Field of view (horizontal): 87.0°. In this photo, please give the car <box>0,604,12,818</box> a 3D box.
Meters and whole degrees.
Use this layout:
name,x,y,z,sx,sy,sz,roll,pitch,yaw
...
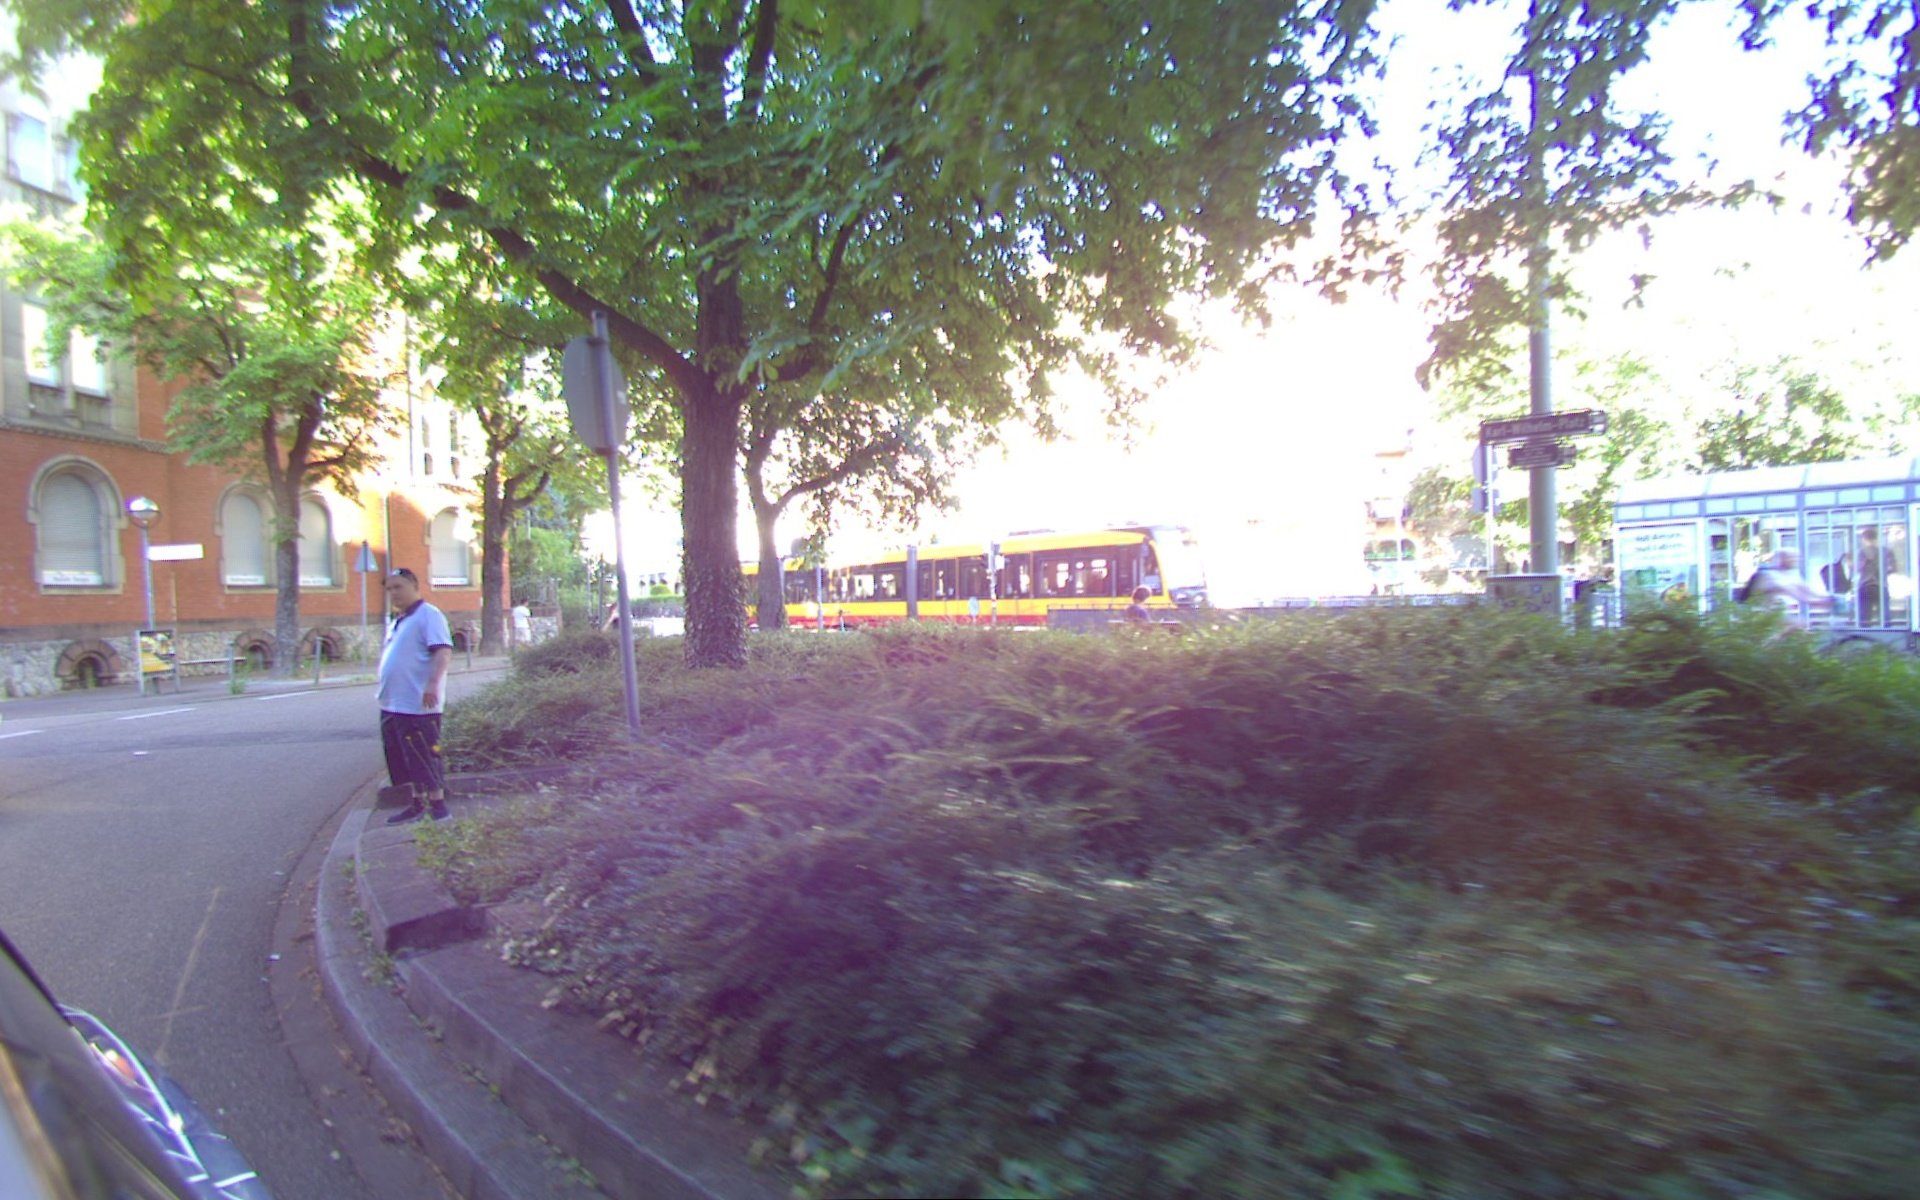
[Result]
name,x,y,z,sx,sy,sz,roll,pitch,yaw
car,-9.627,0.928,8.254,4.507,1.618,1.903,-2,0,36

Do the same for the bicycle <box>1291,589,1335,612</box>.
name,x,y,z,sx,sy,sz,roll,pitch,yaw
bicycle,15.507,0.022,44.500,1.724,0.953,0.652,-2,0,13

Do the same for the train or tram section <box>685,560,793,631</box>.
name,x,y,z,sx,sy,sz,roll,pitch,yaw
train or tram section,-12.118,-0.257,54.964,2.925,3.533,7.205,-3,1,-37

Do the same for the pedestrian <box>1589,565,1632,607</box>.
name,x,y,z,sx,sy,sz,roll,pitch,yaw
pedestrian,30.639,-0.662,47.726,1.486,1.926,1.249,-2,0,26

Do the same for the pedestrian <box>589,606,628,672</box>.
name,x,y,z,sx,sy,sz,roll,pitch,yaw
pedestrian,-8.919,0.984,25.713,0.840,1.617,0.603,-2,0,-16

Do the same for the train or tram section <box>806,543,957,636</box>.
name,x,y,z,sx,sy,sz,roll,pitch,yaw
train or tram section,-3.517,-0.403,43.425,2.887,3.626,7.205,-3,1,-37

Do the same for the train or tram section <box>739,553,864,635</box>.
name,x,y,z,sx,sy,sz,roll,pitch,yaw
train or tram section,-7.828,-0.295,49.201,2.892,3.617,7.205,-3,1,-37

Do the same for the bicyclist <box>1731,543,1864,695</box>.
name,x,y,z,sx,sy,sz,roll,pitch,yaw
bicyclist,10.011,0.220,12.110,0.685,1.729,1.049,-2,0,-37

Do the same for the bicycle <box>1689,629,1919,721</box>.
name,x,y,z,sx,sy,sz,roll,pitch,yaw
bicycle,10.021,0.844,12.078,0.758,0.965,1.986,-2,0,-37

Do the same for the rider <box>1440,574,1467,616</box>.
name,x,y,z,sx,sy,sz,roll,pitch,yaw
rider,20.088,-0.214,41.198,0.660,1.694,0.823,-2,2,-5

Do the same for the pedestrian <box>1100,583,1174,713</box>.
name,x,y,z,sx,sy,sz,roll,pitch,yaw
pedestrian,2.425,0.639,13.816,0.813,1.696,0.894,-2,0,19

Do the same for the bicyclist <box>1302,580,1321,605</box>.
name,x,y,z,sx,sy,sz,roll,pitch,yaw
bicyclist,15.448,-0.339,44.512,0.670,1.062,0.610,-2,0,12

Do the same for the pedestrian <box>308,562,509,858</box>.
name,x,y,z,sx,sy,sz,roll,pitch,yaw
pedestrian,-3.437,0.643,6.397,0.768,1.696,0.920,-2,0,-5

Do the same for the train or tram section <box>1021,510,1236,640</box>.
name,x,y,z,sx,sy,sz,roll,pitch,yaw
train or tram section,5.140,-0.671,31.906,2.875,3.668,6.361,-2,0,-37

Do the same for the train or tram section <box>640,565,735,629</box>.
name,x,y,z,sx,sy,sz,roll,pitch,yaw
train or tram section,-16.428,-0.191,60.749,2.925,3.533,7.205,-3,1,-37

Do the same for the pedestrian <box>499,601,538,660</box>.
name,x,y,z,sx,sy,sz,roll,pitch,yaw
pedestrian,-12.702,0.869,29.139,0.846,1.655,0.872,-2,0,-33

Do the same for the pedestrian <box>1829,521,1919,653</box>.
name,x,y,z,sx,sy,sz,roll,pitch,yaw
pedestrian,13.914,-0.192,15.262,0.897,1.912,1.022,-2,0,-37

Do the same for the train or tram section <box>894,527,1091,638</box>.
name,x,y,z,sx,sy,sz,roll,pitch,yaw
train or tram section,0.985,-0.538,37.396,2.875,3.641,7.877,-2,0,-37
